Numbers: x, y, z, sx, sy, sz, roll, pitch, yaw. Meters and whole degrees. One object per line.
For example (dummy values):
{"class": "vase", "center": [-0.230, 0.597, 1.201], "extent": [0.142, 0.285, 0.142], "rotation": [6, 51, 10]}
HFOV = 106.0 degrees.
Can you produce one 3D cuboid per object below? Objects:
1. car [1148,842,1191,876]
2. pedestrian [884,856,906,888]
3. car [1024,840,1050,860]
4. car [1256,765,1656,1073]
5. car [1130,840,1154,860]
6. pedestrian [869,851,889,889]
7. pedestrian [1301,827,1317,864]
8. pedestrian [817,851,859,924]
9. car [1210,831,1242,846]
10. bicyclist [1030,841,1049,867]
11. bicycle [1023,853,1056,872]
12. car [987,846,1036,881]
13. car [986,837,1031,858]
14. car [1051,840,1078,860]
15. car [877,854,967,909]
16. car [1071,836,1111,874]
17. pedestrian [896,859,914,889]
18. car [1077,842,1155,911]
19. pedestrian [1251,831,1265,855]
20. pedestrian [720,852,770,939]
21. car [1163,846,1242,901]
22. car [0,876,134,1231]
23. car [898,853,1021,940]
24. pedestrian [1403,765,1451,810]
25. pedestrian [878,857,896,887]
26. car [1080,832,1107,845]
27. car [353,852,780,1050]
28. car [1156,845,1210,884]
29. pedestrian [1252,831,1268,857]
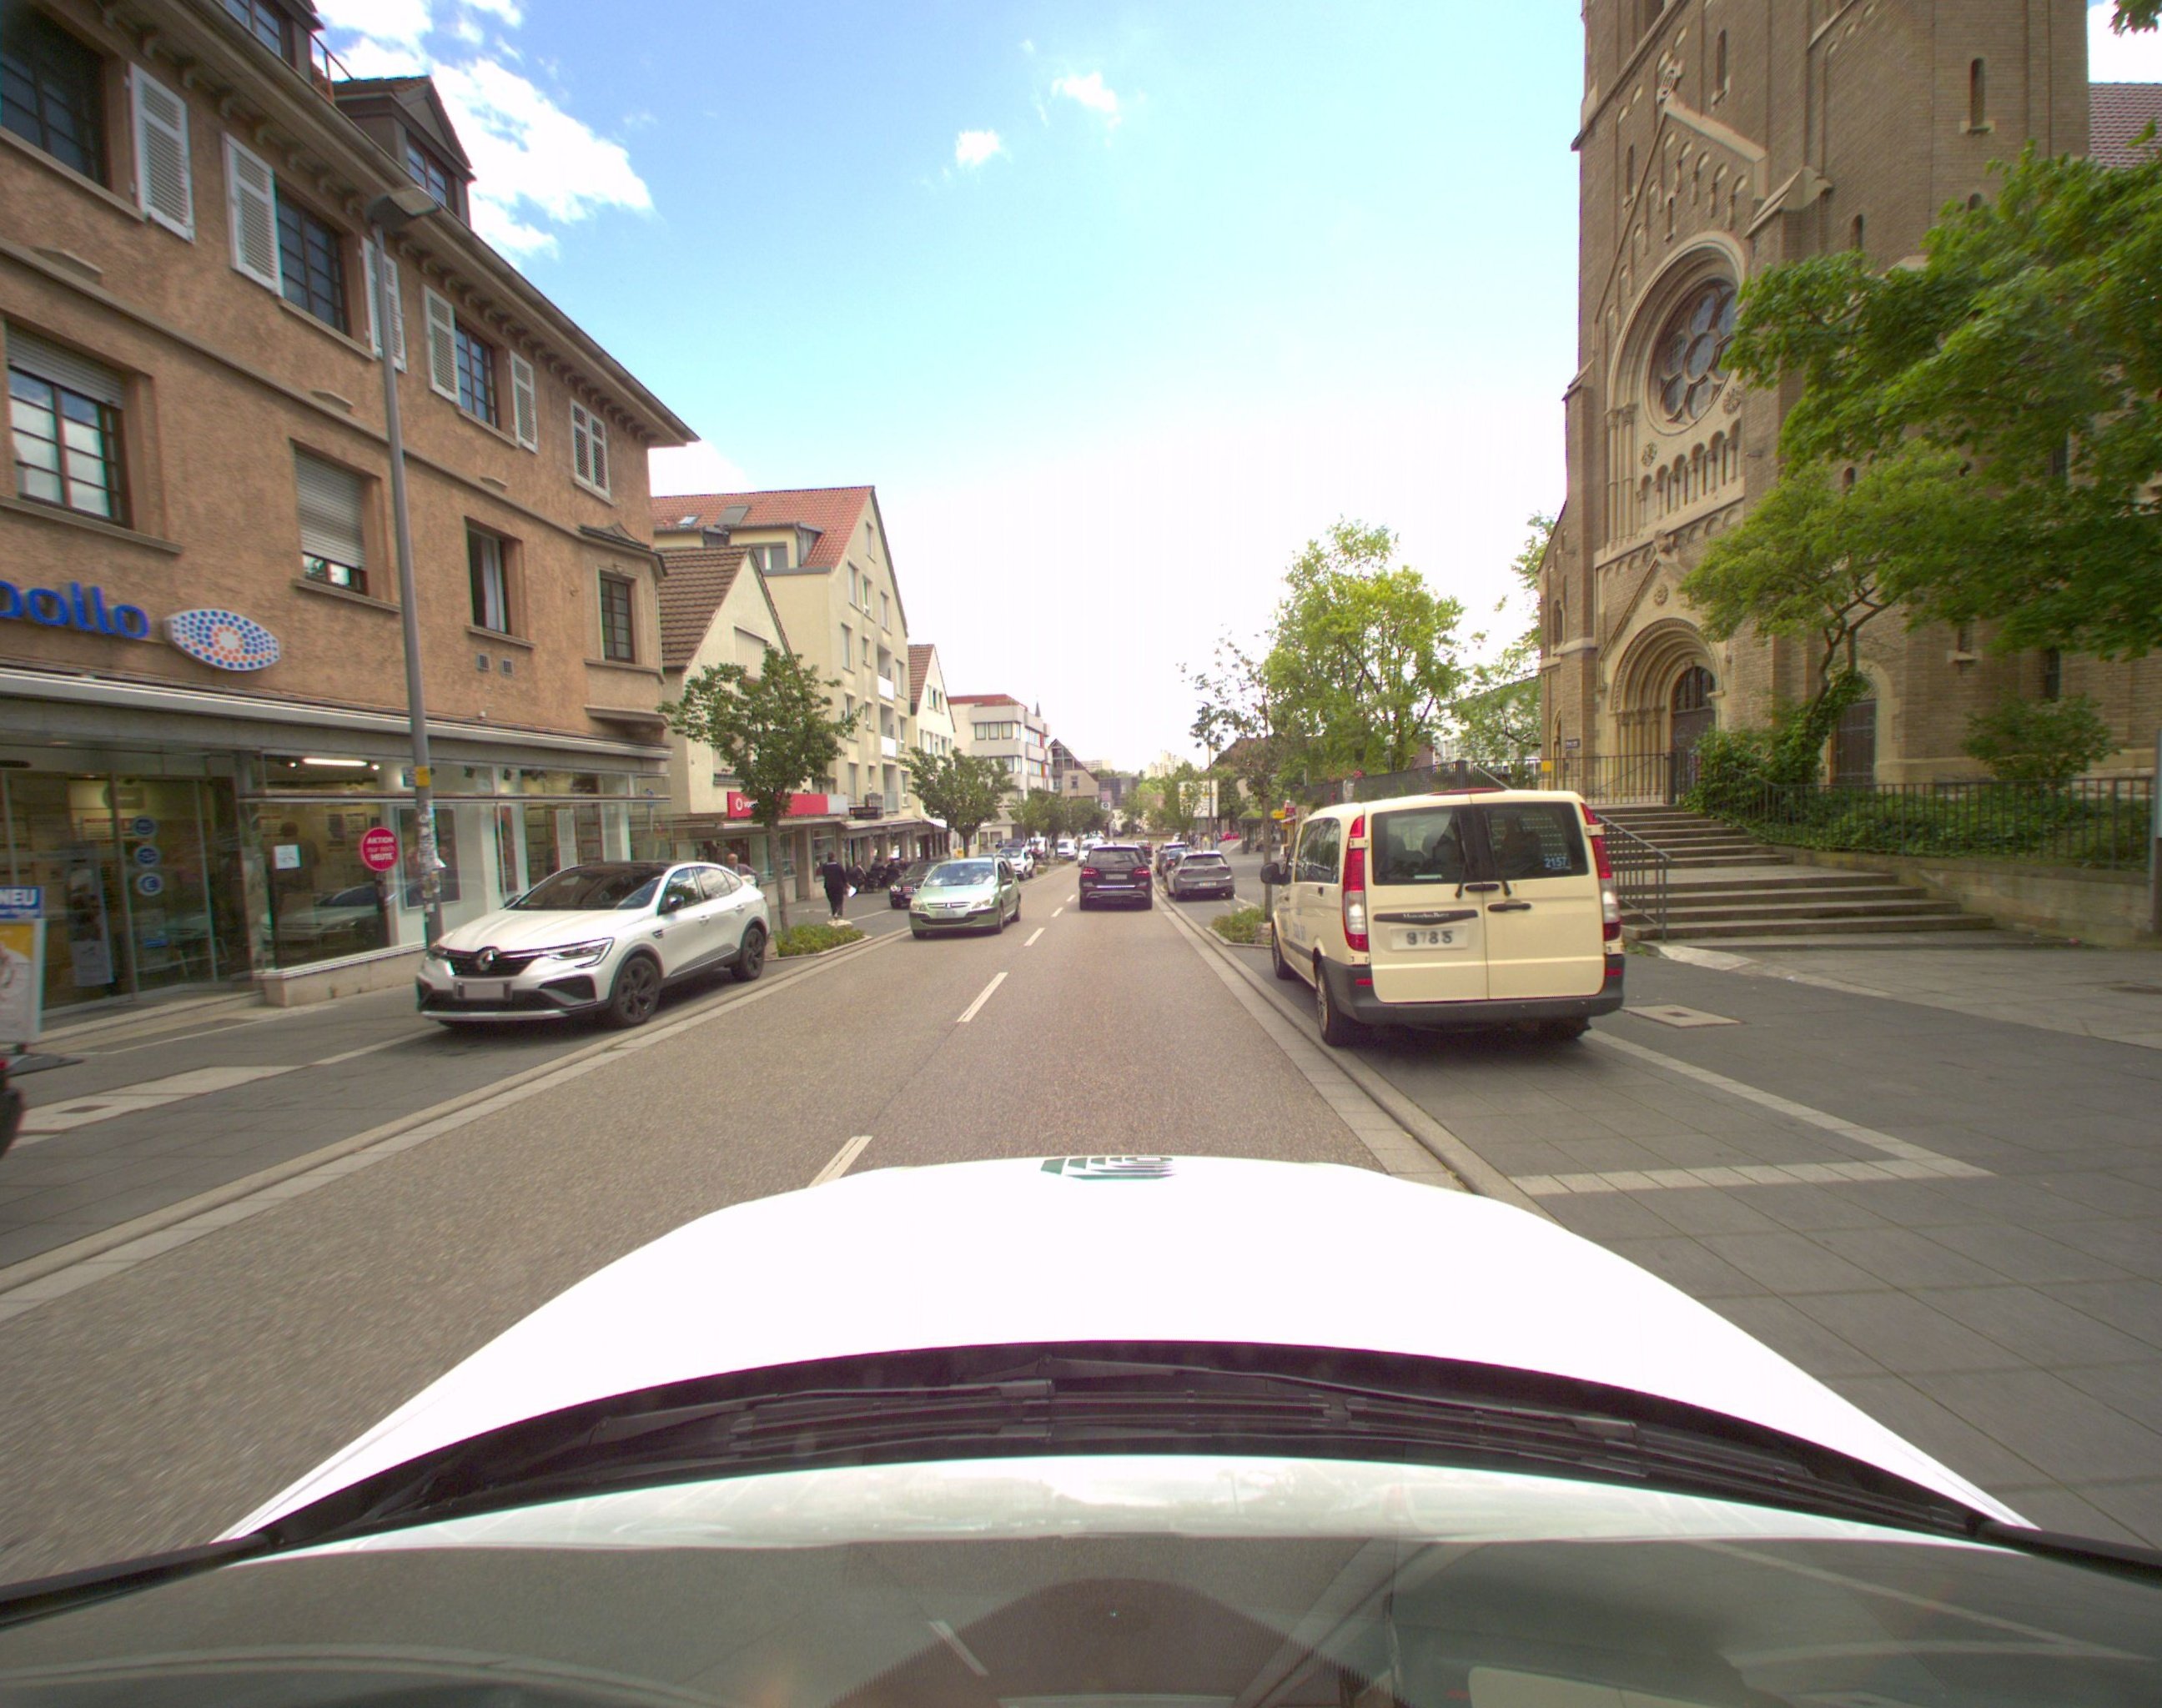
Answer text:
{"class": "car", "center": [4.522, 0.213, 42.294], "extent": [1.930, 1.544, 4.711], "rotation": [-2, 1, 3]}
{"class": "pedestrian", "center": [-7.793, 0.750, 34.189], "extent": [0.684, 1.281, 0.676], "rotation": [-2, 0, 1]}
{"class": "car", "center": [-3.684, -0.389, 69.387], "extent": [1.920, 1.628, 4.415], "rotation": [0, 1, 0]}
{"class": "car", "center": [2.919, 0.395, 7.639], "extent": [1.928, 1.891, 4.715], "rotation": [-4, 1, 6]}
{"class": "car", "center": [5.122, -0.369, 69.002], "extent": [1.919, 1.628, 4.265], "rotation": [0, 1, 2]}
{"class": "pedestrian", "center": [-8.468, 0.666, 34.184], "extent": [0.571, 1.534, 0.676], "rotation": [-2, 0, 1]}
{"class": "pedestrian", "center": [9.993, -0.388, 35.689], "extent": [0.565, 1.586, 0.668], "rotation": [-2, 0, 10]}
{"class": "pedestrian", "center": [-5.661, 0.773, 19.019], "extent": [0.724, 1.667, 0.721], "rotation": [-1, 0, 1]}
{"class": "car", "center": [20.303, -2.205, 113.912], "extent": [4.214, 2.029, 1.769], "rotation": [-2, 0, -34]}
{"class": "bicyclist", "center": [-2.712, -0.009, 52.999], "extent": [0.967, 1.609, 0.724], "rotation": [-4, 0, -25]}
{"class": "bicycle", "center": [-2.722, 0.537, 52.988], "extent": [1.966, 1.057, 0.706], "rotation": [-4, 0, -25]}
{"class": "car", "center": [-3.521, 0.456, 42.091], "extent": [1.919, 1.628, 4.265], "rotation": [-1, 1, 2]}
{"class": "car", "center": [-6.816, -0.604, 77.101], "extent": [3.977, 1.750, 1.999], "rotation": [-4, 0, -2]}
{"class": "car", "center": [-1.286, -0.352, 66.344], "extent": [1.919, 1.628, 4.265], "rotation": [0, 1, 2]}
{"class": "car", "center": [-4.873, 0.795, 25.554], "extent": [1.920, 1.496, 4.263], "rotation": [0, 1, 1]}
{"class": "car", "center": [0.774, 0.025, 56.487], "extent": [2.162, 2.364, 4.631], "rotation": [-4, 0, 6]}
{"class": "pedestrian", "center": [-7.683, 0.871, 35.583], "extent": [0.563, 1.281, 0.759], "rotation": [-1, 0, 1]}
{"class": "car", "center": [0.977, 0.549, 22.597], "extent": [1.936, 1.740, 4.182], "rotation": [0, 1, 2]}
{"class": "pedestrian", "center": [16.608, -1.003, 76.252], "extent": [1.003, 2.151, 1.073], "rotation": [-4, 0, 20]}
{"class": "pedestrian", "center": [-6.612, 0.801, 16.062], "extent": [0.638, 1.667, 0.721], "rotation": [-1, 0, 1]}
{"class": "car", "center": [3.696, 0.544, 25.511], "extent": [1.930, 1.457, 4.711], "rotation": [-2, 1, 3]}
{"class": "car", "center": [-5.559, 0.881, 1.803], "extent": [1.921, 1.496, 4.260], "rotation": [-1, 0, -1]}
{"class": "car", "center": [-2.370, 0.779, 16.904], "extent": [1.805, 1.508, 4.001], "rotation": [-3, 0, 1]}
{"class": "pedestrian", "center": [10.128, -1.933, 23.880], "extent": [0.986, 1.231, 0.985], "rotation": [-2, 0, 4]}
{"class": "pedestrian", "center": [-8.445, 0.796, 35.509], "extent": [0.563, 1.281, 0.759], "rotation": [-1, 0, 1]}
{"class": "car", "center": [1.906, -2.455, 128.678], "extent": [4.067, 2.013, 1.995], "rotation": [0, 0, -7]}
{"class": "car", "center": [-5.151, 0.819, 9.090], "extent": [1.920, 1.595, 4.458], "rotation": [0, 1, 0]}
{"class": "car", "center": [4.425, 0.413, 35.991], "extent": [1.930, 1.457, 4.711], "rotation": [-4, 1, 3]}
{"class": "pedestrian", "center": [13.860, -0.798, 63.139], "extent": [1.043, 1.913, 0.939], "rotation": [-4, 0, 9]}
